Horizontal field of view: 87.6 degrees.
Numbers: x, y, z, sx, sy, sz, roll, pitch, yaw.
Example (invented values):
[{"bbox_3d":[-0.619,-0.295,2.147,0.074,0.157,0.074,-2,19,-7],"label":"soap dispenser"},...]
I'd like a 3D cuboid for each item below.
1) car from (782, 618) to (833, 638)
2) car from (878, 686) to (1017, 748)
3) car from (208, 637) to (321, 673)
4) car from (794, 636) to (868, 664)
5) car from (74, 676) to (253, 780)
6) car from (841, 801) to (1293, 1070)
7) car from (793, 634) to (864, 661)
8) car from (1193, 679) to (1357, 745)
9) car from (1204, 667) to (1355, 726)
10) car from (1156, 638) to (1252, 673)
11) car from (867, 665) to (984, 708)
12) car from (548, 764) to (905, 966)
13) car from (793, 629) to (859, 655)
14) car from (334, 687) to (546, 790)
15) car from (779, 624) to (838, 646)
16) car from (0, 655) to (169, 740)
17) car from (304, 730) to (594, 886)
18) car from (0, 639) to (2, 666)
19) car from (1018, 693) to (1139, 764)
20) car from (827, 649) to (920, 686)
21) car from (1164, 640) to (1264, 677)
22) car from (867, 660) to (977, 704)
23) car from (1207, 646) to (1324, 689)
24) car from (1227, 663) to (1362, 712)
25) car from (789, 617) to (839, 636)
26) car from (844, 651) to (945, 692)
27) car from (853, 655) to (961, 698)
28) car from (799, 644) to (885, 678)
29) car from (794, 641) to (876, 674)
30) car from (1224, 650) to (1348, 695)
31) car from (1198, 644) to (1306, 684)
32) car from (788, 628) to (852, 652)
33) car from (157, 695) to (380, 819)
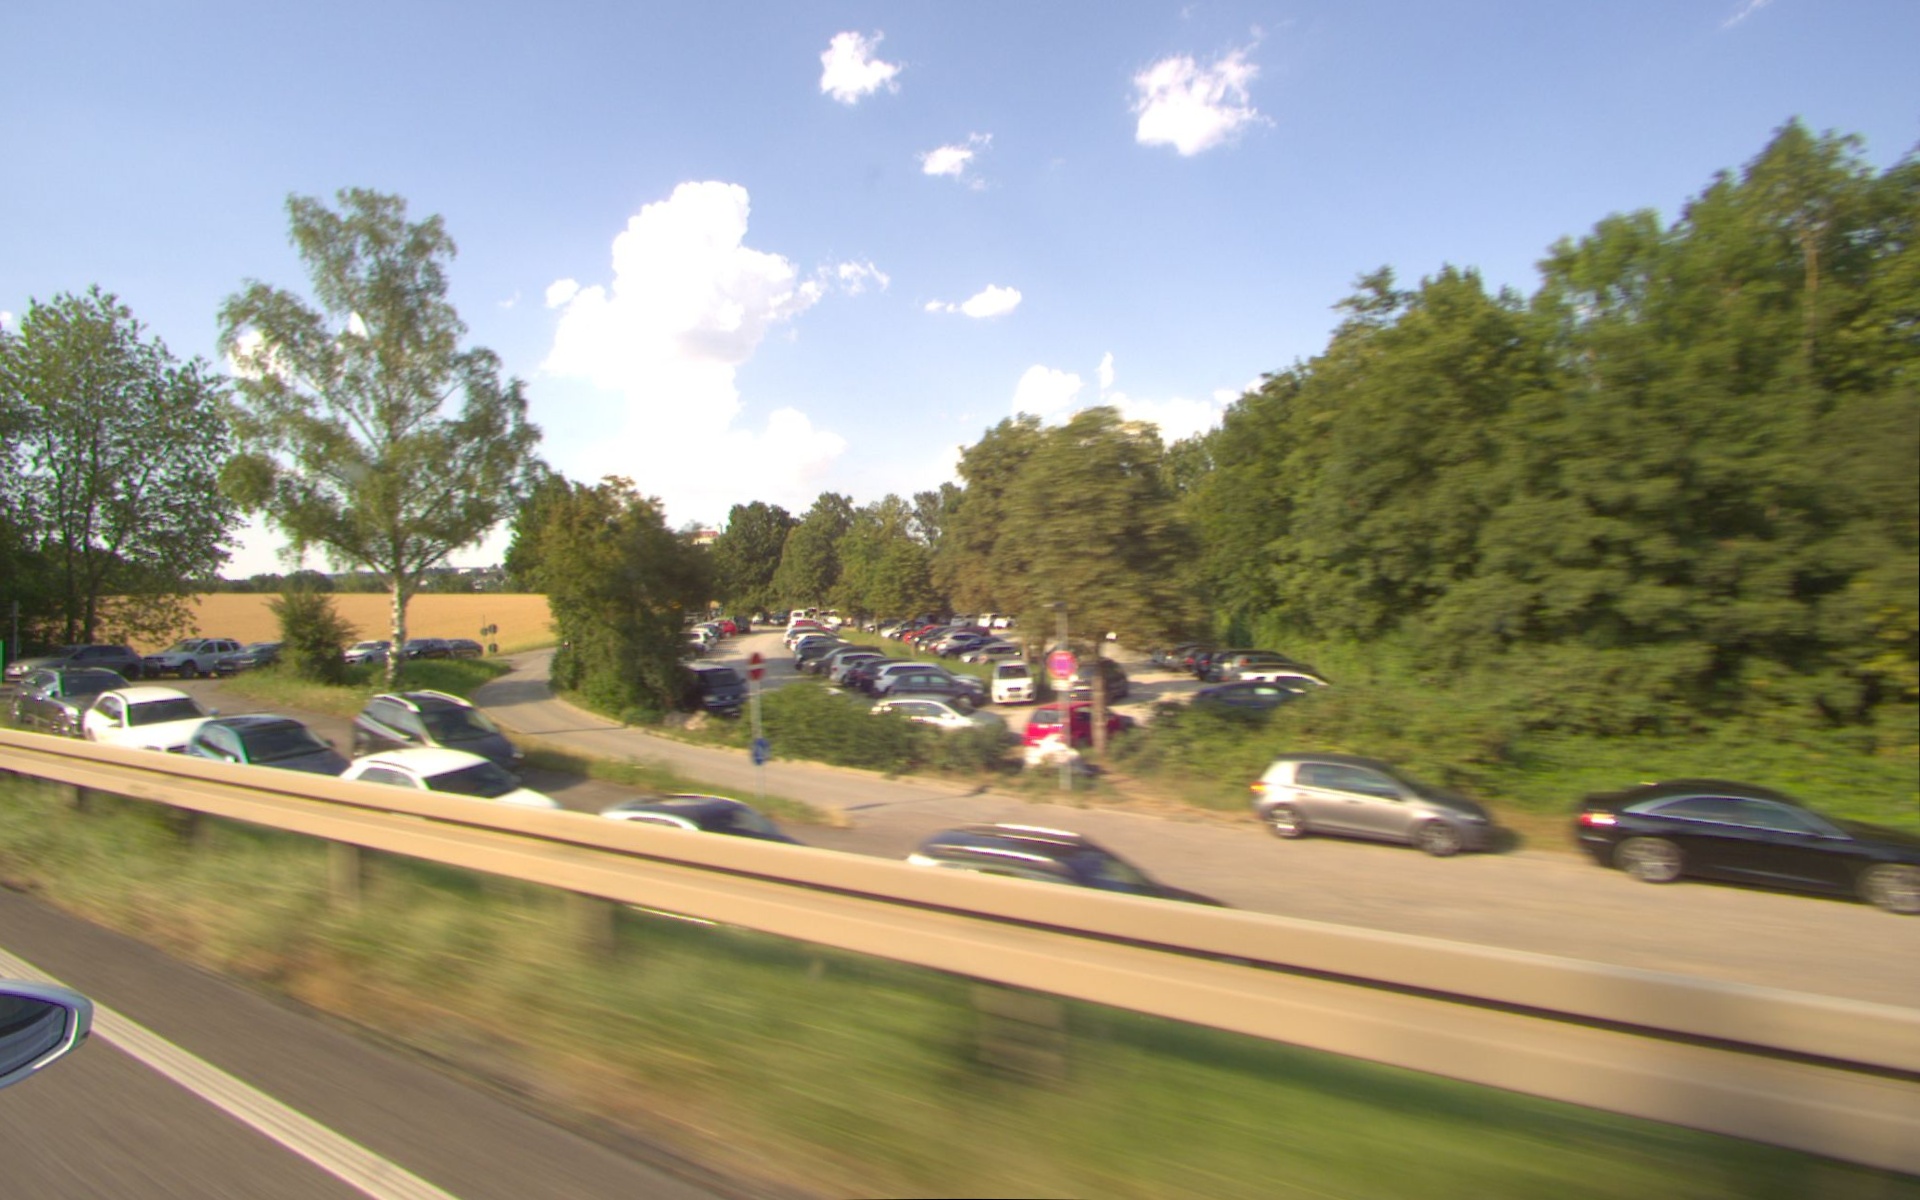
[{"bbox_3d":[-13.881,2.518,90.930,4.511,1.713,1.802,0,0,-12],"label":"car"},{"bbox_3d":[-0.397,3.555,30.871,3.937,1.563,1.797,-1,-1,27],"label":"car"},{"bbox_3d":[-30.074,2.356,43.458,1.776,1.459,4.593,1,-2,-2],"label":"car"},{"bbox_3d":[-8.136,3.137,63.219,4.511,1.713,1.802,0,0,-12],"label":"car"},{"bbox_3d":[-17.659,2.713,22.132,4.719,1.581,1.884,2,4,36],"label":"car"},{"bbox_3d":[1.137,3.529,11.308,4.708,1.581,1.888,1,3,29],"label":"car"},{"bbox_3d":[-8.629,3.096,65.694,4.511,1.713,1.802,0,0,-12],"label":"car"},{"bbox_3d":[9.289,3.302,29.887,4.510,1.713,1.802,0,0,12],"label":"car"},{"bbox_3d":[10.294,3.103,32.613,4.510,1.713,1.802,0,0,12],"label":"car"},{"bbox_3d":[12.352,2.826,50.957,4.507,1.713,1.803,0,0,6],"label":"car"},{"bbox_3d":[-1.335,3.441,39.909,4.507,1.563,1.804,0,0,3],"label":"car"},{"bbox_3d":[-3.246,3.437,13.717,4.708,1.581,1.888,1,3,29],"label":"car"},{"bbox_3d":[-9.461,2.947,70.629,4.511,1.713,1.802,0,0,-12],"label":"car"},{"bbox_3d":[-11.075,2.825,21.237,4.714,1.697,1.888,-1,-1,32],"label":"car"},{"bbox_3d":[-12.101,2.785,79.854,4.511,1.713,1.802,0,0,-12],"label":"car"},{"bbox_3d":[-22.008,2.360,25.082,4.712,1.581,1.887,1,4,32],"label":"car"},{"bbox_3d":[-8.390,3.246,16.360,4.708,1.581,1.888,1,3,29],"label":"car"},{"bbox_3d":[-28.283,1.675,26.380,1.687,1.527,4.331,2,-4,4],"label":"car"},{"bbox_3d":[3.424,3.590,28.502,1.635,1.563,3.747,-1,-1,40],"label":"car"},{"bbox_3d":[-4.360,3.376,50.251,4.511,1.713,1.802,0,0,-12],"label":"car"},{"bbox_3d":[12.333,2.827,48.858,4.507,1.713,1.803,0,0,6],"label":"car"},{"bbox_3d":[-1.550,3.428,42.163,4.507,1.713,1.804,0,0,3],"label":"car"},{"bbox_3d":[13.015,2.865,42.815,4.507,1.713,1.803,0,0,6],"label":"car"},{"bbox_3d":[12.457,3.246,37.531,4.507,1.713,1.803,0,0,6],"label":"car"},{"bbox_3d":[-13.755,2.464,94.167,4.511,1.713,1.802,0,0,-12],"label":"car"},{"bbox_3d":[-3.138,3.381,47.831,4.518,1.713,1.799,0,0,-20],"label":"car"},{"bbox_3d":[-2.384,3.418,45.114,4.518,1.713,1.799,0,0,-20],"label":"car"},{"bbox_3d":[-6.436,3.303,54.613,4.511,1.713,1.802,0,0,-12],"label":"car"},{"bbox_3d":[-7.151,3.266,57.268,4.511,1.713,1.802,0,0,-12],"label":"car"},{"bbox_3d":[13.171,2.941,40.666,4.507,1.713,1.803,0,0,6],"label":"car"},{"bbox_3d":[13.304,2.912,45.840,4.507,1.713,1.803,0,0,6],"label":"car"},{"bbox_3d":[-10.303,2.912,73.490,4.511,1.713,1.802,0,0,-12],"label":"car"},{"bbox_3d":[-13.451,2.915,19.414,4.714,1.581,1.886,1,4,33],"label":"car"}]
